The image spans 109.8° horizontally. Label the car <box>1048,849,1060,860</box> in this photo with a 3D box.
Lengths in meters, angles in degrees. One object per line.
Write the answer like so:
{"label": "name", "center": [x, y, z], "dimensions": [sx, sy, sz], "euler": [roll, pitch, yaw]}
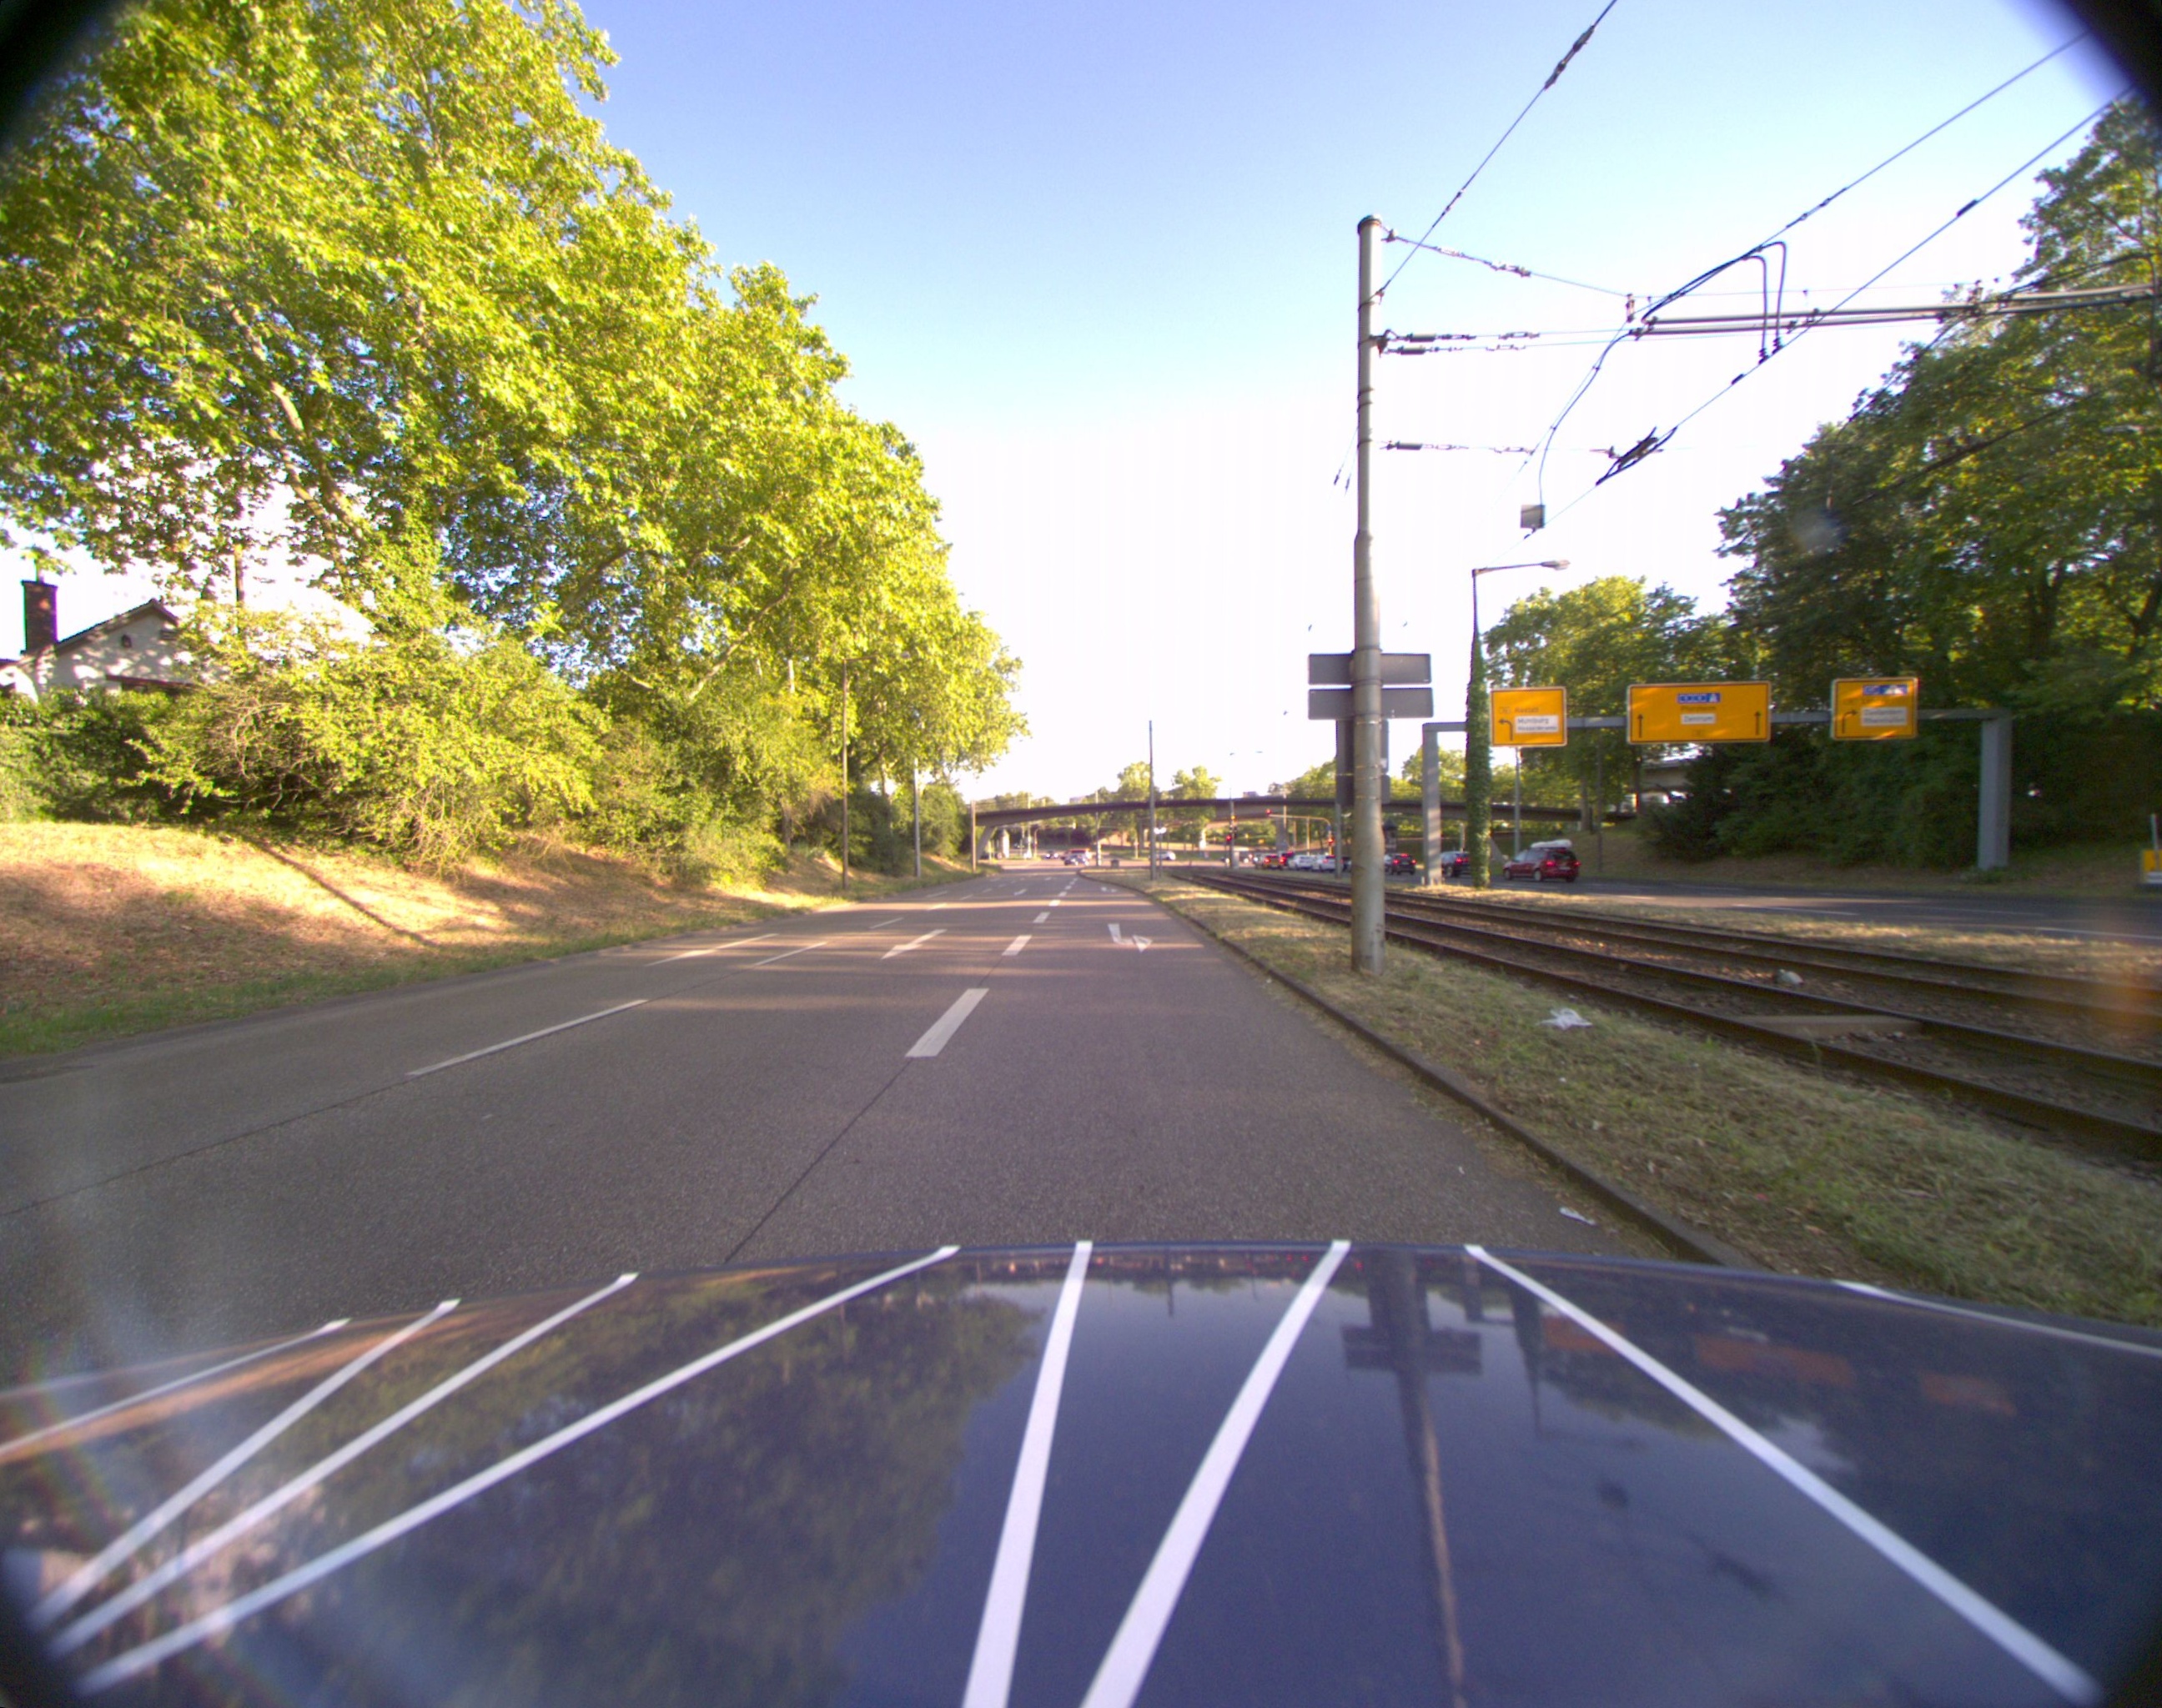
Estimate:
{"label": "car", "center": [-4.880, 0.075, 139.176], "dimensions": [1.960, 1.779, 3.998], "euler": [-2, 0, -5]}

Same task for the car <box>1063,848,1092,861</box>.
{"label": "car", "center": [-0.405, 0.057, 97.468], "dimensions": [1.759, 1.490, 3.800], "euler": [-1, 1, 38]}

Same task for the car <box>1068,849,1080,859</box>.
{"label": "car", "center": [-1.236, 0.018, 141.851], "dimensions": [1.905, 1.726, 3.998], "euler": [-2, 0, -5]}

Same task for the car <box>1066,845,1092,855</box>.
{"label": "car", "center": [-0.313, -0.692, 126.773], "dimensions": [3.868, 1.403, 1.814], "euler": [-2, 1, 20]}
